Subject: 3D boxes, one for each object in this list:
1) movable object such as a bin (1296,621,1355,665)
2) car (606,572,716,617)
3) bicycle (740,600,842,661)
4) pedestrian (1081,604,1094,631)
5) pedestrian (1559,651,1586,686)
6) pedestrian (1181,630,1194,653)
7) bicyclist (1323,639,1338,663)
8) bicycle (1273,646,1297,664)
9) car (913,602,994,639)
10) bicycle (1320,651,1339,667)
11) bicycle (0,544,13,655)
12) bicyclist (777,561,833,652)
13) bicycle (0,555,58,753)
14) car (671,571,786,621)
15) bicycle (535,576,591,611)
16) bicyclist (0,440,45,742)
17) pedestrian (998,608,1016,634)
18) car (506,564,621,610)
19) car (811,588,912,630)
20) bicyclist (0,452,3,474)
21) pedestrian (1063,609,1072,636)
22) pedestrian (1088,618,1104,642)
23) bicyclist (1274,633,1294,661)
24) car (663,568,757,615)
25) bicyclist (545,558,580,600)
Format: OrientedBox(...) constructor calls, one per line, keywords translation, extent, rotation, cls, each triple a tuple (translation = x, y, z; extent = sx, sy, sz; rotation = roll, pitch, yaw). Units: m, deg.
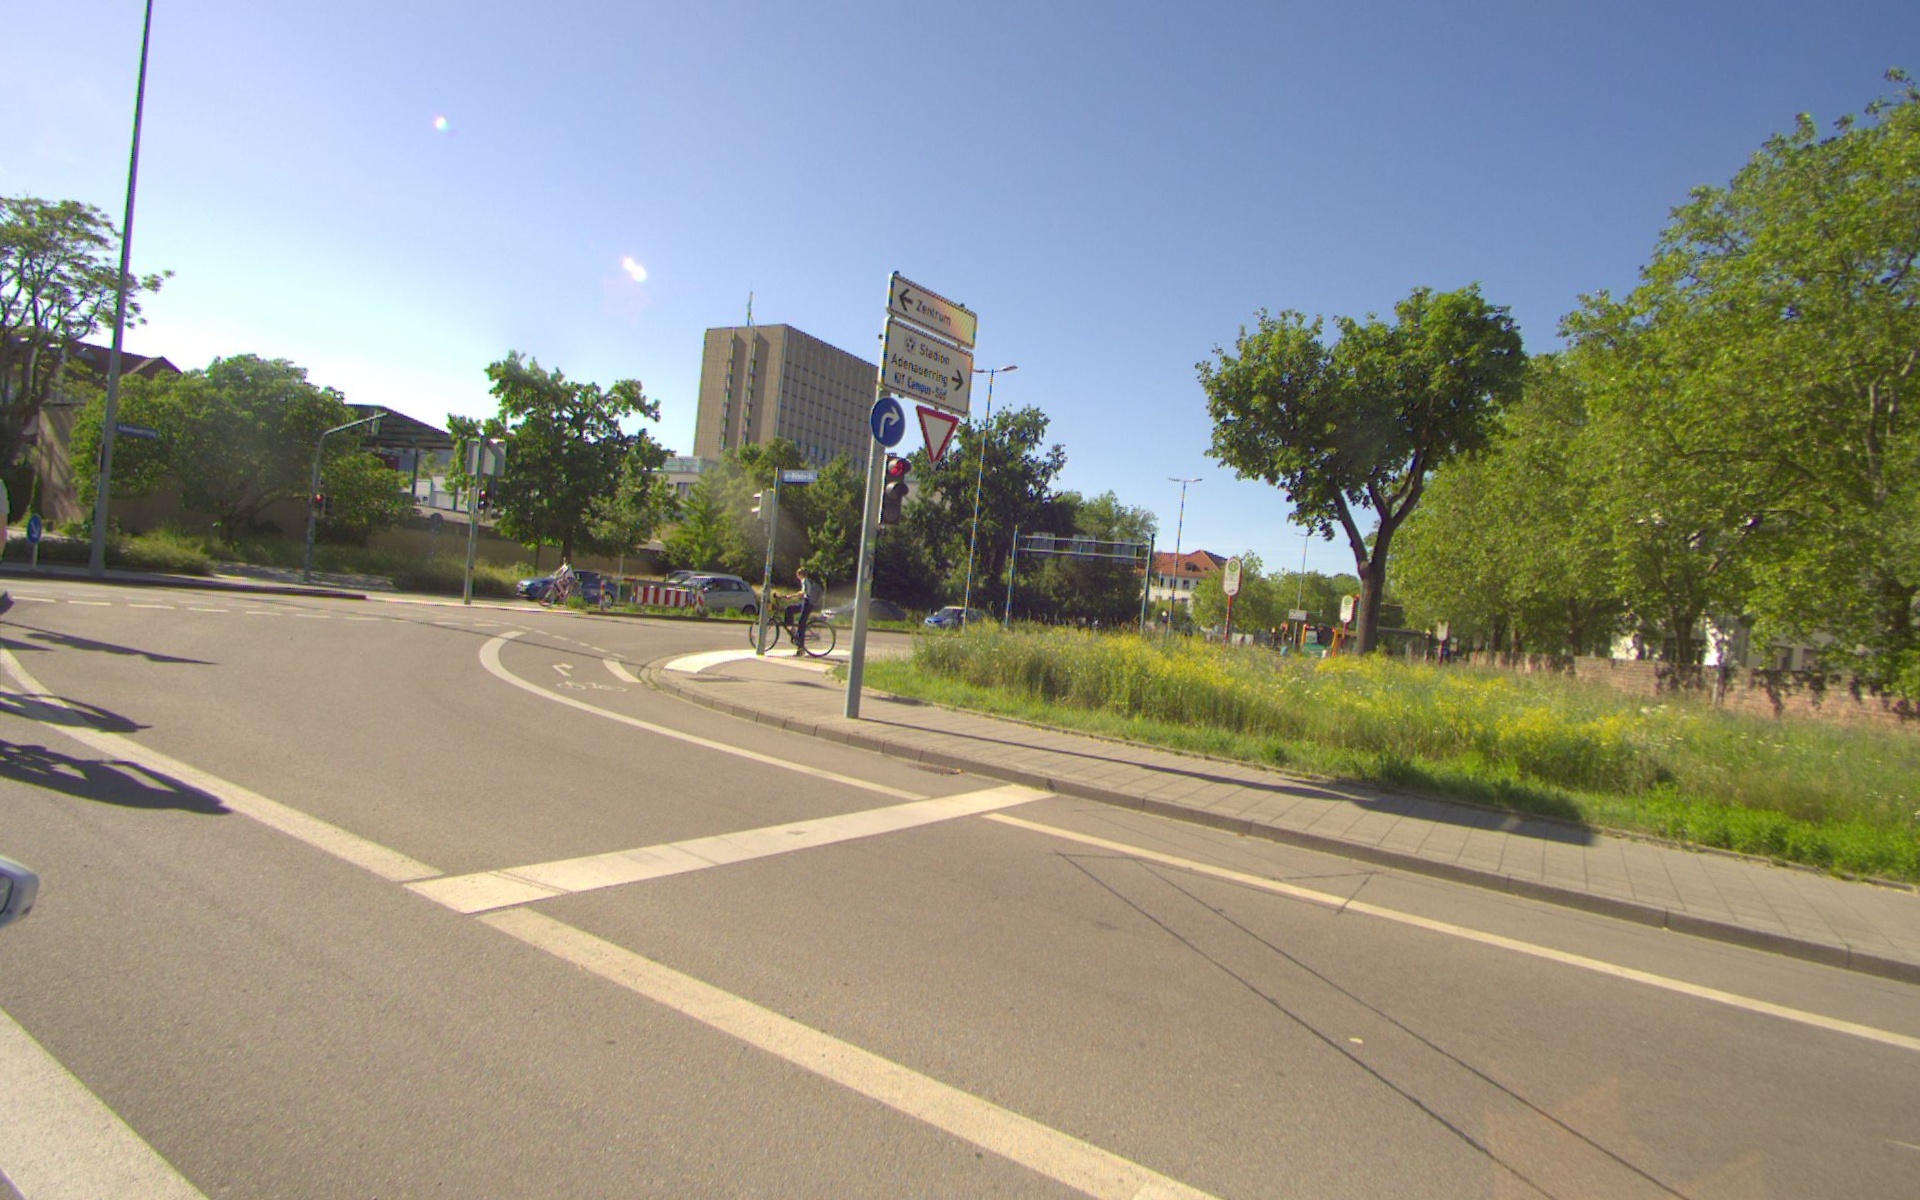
OrientedBox(translation=(28.057, 3.358, 76.898), extent=(2.954, 2.898, 9.178), rotation=(6, 0, 27), cls="movable object such as a bin")
OrientedBox(translation=(-12.299, -0.196, 41.560), extent=(1.767, 1.415, 3.986), rotation=(7, 0, 37), cls="car")
OrientedBox(translation=(-3.289, 0.595, 19.668), extent=(1.856, 0.970, 0.635), rotation=(7, 1, -10), cls="bicycle")
OrientedBox(translation=(11.852, 1.639, 93.544), extent=(0.710, 2.451, 0.585), rotation=(6, -1, 34), cls="pedestrian")
OrientedBox(translation=(27.217, 3.053, 44.714), extent=(0.712, 1.460, 0.523), rotation=(7, -1, 2), cls="pedestrian")
OrientedBox(translation=(25.356, 4.632, 112.139), extent=(0.935, 2.318, 1.092), rotation=(7, -1, 24), cls="pedestrian")
OrientedBox(translation=(24.891, 3.407, 67.640), extent=(0.509, 1.548, 1.067), rotation=(7, 2, 39), cls="bicyclist")
OrientedBox(translation=(19.405, 3.304, 59.997), extent=(0.640, 0.986, 1.895), rotation=(7, 1, 39), cls="bicycle")
OrientedBox(translation=(-0.295, 1.054, 50.448), extent=(1.916, 1.415, 3.986), rotation=(6, 0, 37), cls="car")
OrientedBox(translation=(24.863, 3.987, 67.689), extent=(0.514, 1.000, 1.965), rotation=(7, 1, 39), cls="bicycle")
OrientedBox(translation=(-8.201, 0.027, 7.809), extent=(1.890, 1.102, 0.690), rotation=(6, -1, 32), cls="bicycle")
OrientedBox(translation=(-3.036, 0.128, 19.696), extent=(0.898, 1.667, 0.630), rotation=(6, 1, -9), cls="bicyclist")
OrientedBox(translation=(-6.369, 0.231, 6.147), extent=(1.890, 1.102, 0.690), rotation=(6, -1, 32), cls="bicycle")
OrientedBox(translation=(-8.739, -0.126, 38.279), extent=(1.767, 1.415, 3.986), rotation=(7, 0, 37), cls="car")
OrientedBox(translation=(-13.936, -0.223, 35.349), extent=(0.602, 1.046, 1.681), rotation=(7, 0, 37), cls="bicycle")
OrientedBox(translation=(-6.357, -0.117, 6.166), extent=(1.123, 1.813, 0.684), rotation=(7, 0, 32), cls="bicyclist")
OrientedBox(translation=(3.900, 1.745, 83.019), extent=(0.752, 2.039, 1.267), rotation=(7, 1, 36), cls="pedestrian")
OrientedBox(translation=(-16.210, -0.522, 41.308), extent=(1.767, 1.415, 3.986), rotation=(7, 0, 37), cls="car")
OrientedBox(translation=(-4.309, 0.439, 44.620), extent=(1.767, 1.415, 4.557), rotation=(7, 0, 37), cls="car")
OrientedBox(translation=(-8.160, -0.425, 7.798), extent=(1.123, 1.614, 0.679), rotation=(7, 0, 31), cls="bicyclist")
OrientedBox(translation=(9.833, 2.045, 91.885), extent=(0.401, 2.451, 0.467), rotation=(6, -1, 34), cls="pedestrian")
OrientedBox(translation=(12.439, 2.756, 92.004), extent=(0.752, 2.039, 1.267), rotation=(7, 1, 36), cls="pedestrian")
OrientedBox(translation=(19.258, 2.797, 59.742), extent=(0.632, 1.533, 1.049), rotation=(7, 2, 39), cls="bicyclist")
OrientedBox(translation=(-11.843, -0.363, 47.786), extent=(1.767, 1.771, 3.986), rotation=(7, 0, 37), cls="car")
OrientedBox(translation=(-13.934, -0.719, 35.272), extent=(0.602, 1.360, 0.874), rotation=(7, 1, 37), cls="bicyclist")
